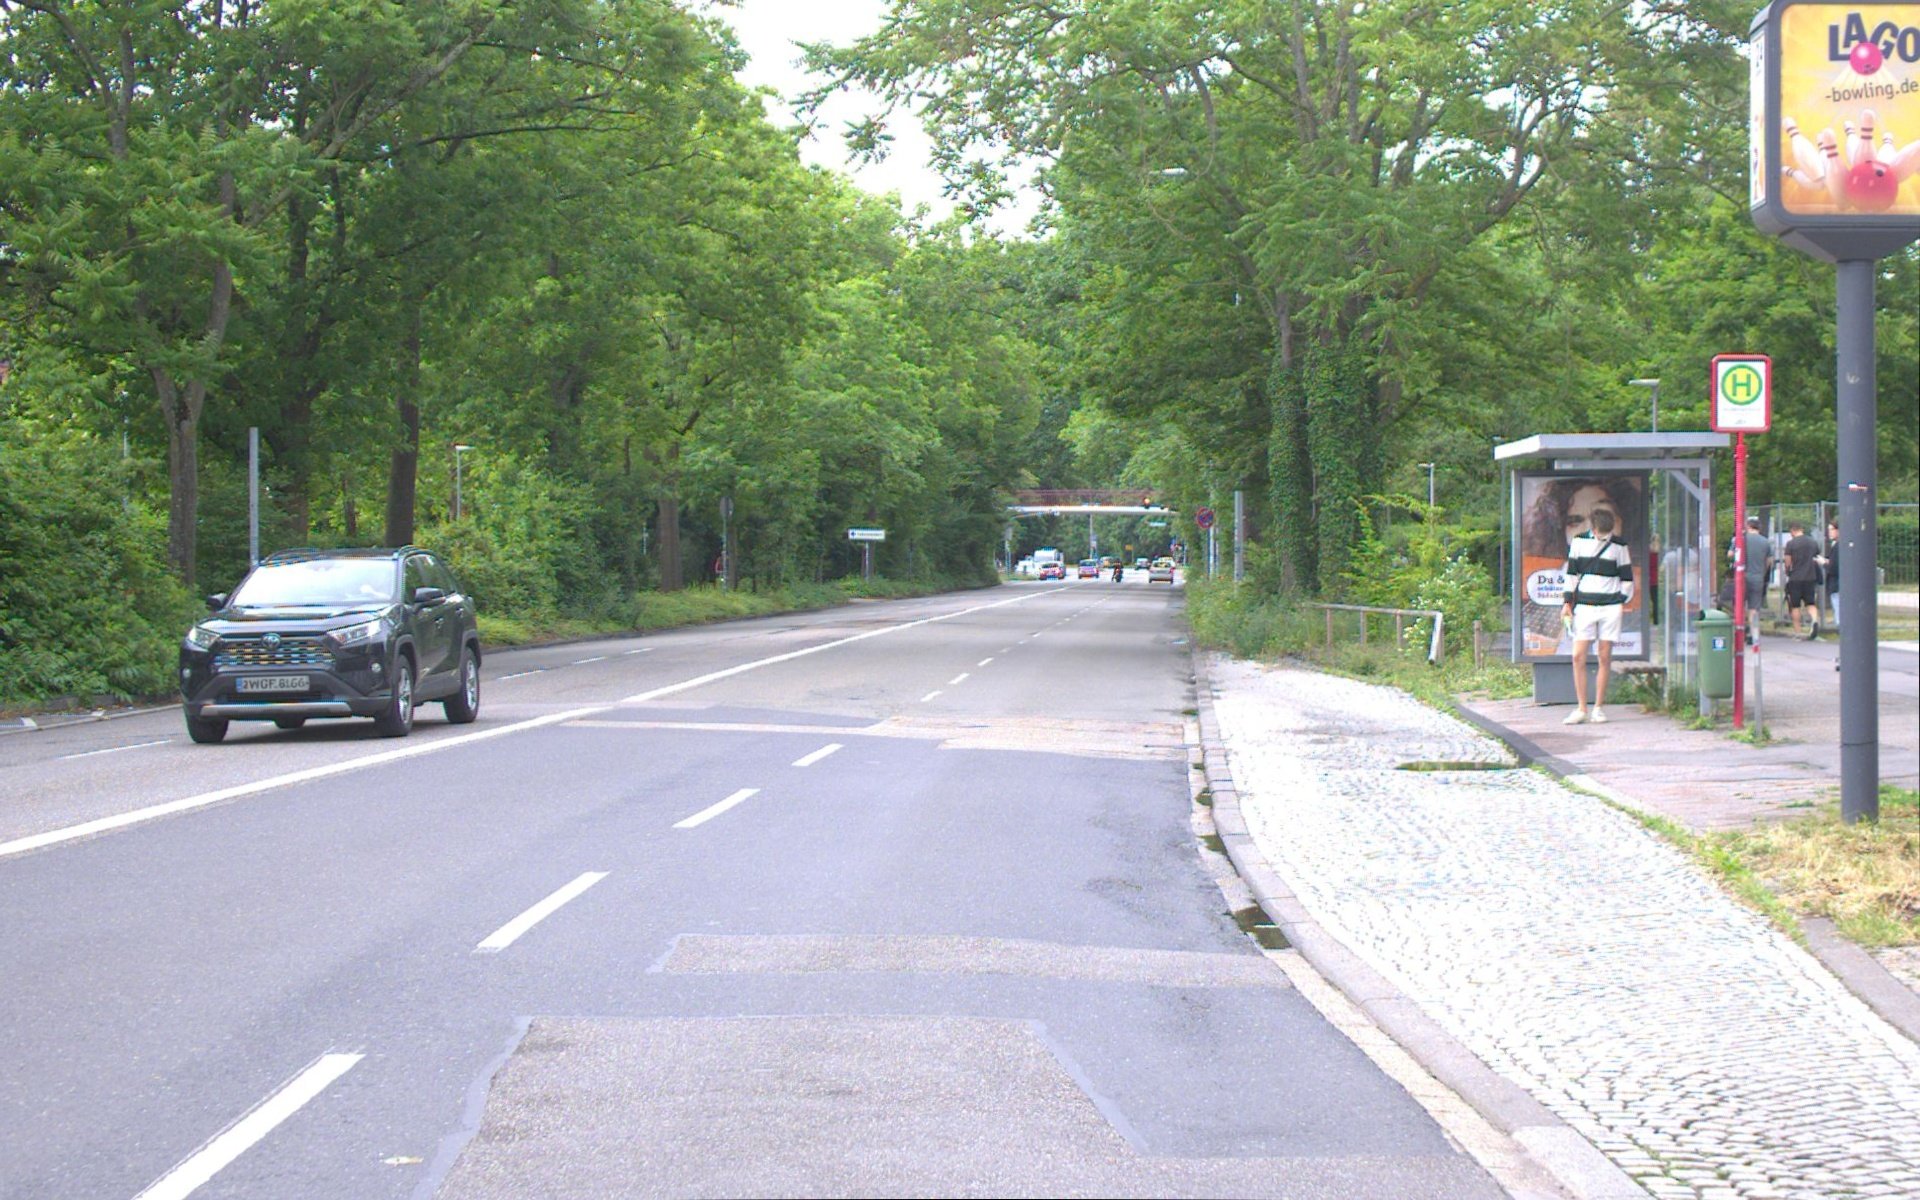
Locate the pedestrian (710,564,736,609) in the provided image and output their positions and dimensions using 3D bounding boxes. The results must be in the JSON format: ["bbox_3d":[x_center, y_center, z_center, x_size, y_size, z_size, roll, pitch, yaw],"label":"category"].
[{"bbox_3d":[-8.575,-0.497,124.350,0.792,1.608,0.848,2,1,4],"label":"pedestrian"}]

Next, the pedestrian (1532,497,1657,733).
[{"bbox_3d":[5.566,0.120,30.189,0.912,2.006,0.854,-2,2,3],"label":"pedestrian"}]

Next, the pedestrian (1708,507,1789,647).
[{"bbox_3d":[11.514,-0.336,50.223,0.925,2.007,1.040,-1,0,-1],"label":"pedestrian"}]

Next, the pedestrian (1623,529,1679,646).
[{"bbox_3d":[12.093,-0.220,60.184,0.824,2.007,0.720,-1,0,1],"label":"pedestrian"}]

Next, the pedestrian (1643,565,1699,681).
[{"bbox_3d":[12.512,0.400,60.517,0.824,2.007,0.720,-1,0,3],"label":"pedestrian"}]

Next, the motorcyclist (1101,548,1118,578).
[{"bbox_3d":[10.136,-2.523,233.226,1.063,2.007,0.842,2,1,4],"label":"motorcyclist"}]

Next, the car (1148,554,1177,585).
[{"bbox_3d":[13.535,-2.020,229.509,1.843,2.007,4.000,2,1,4],"label":"car"}]

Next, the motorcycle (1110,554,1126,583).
[{"bbox_3d":[10.731,-2.125,233.343,0.990,1.929,2.669,2,1,4],"label":"motorcycle"}]

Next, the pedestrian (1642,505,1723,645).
[{"bbox_3d":[10.572,-0.368,50.331,0.925,2.007,1.040,-1,0,-1],"label":"pedestrian"}]

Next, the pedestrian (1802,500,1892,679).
[{"bbox_3d":[10.085,-0.125,39.108,0.842,2.007,0.894,0,0,4],"label":"pedestrian"}]

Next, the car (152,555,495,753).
[{"bbox_3d":[-5.492,0.425,30.255,1.903,1.588,4.516,-1,0,4],"label":"car"}]
